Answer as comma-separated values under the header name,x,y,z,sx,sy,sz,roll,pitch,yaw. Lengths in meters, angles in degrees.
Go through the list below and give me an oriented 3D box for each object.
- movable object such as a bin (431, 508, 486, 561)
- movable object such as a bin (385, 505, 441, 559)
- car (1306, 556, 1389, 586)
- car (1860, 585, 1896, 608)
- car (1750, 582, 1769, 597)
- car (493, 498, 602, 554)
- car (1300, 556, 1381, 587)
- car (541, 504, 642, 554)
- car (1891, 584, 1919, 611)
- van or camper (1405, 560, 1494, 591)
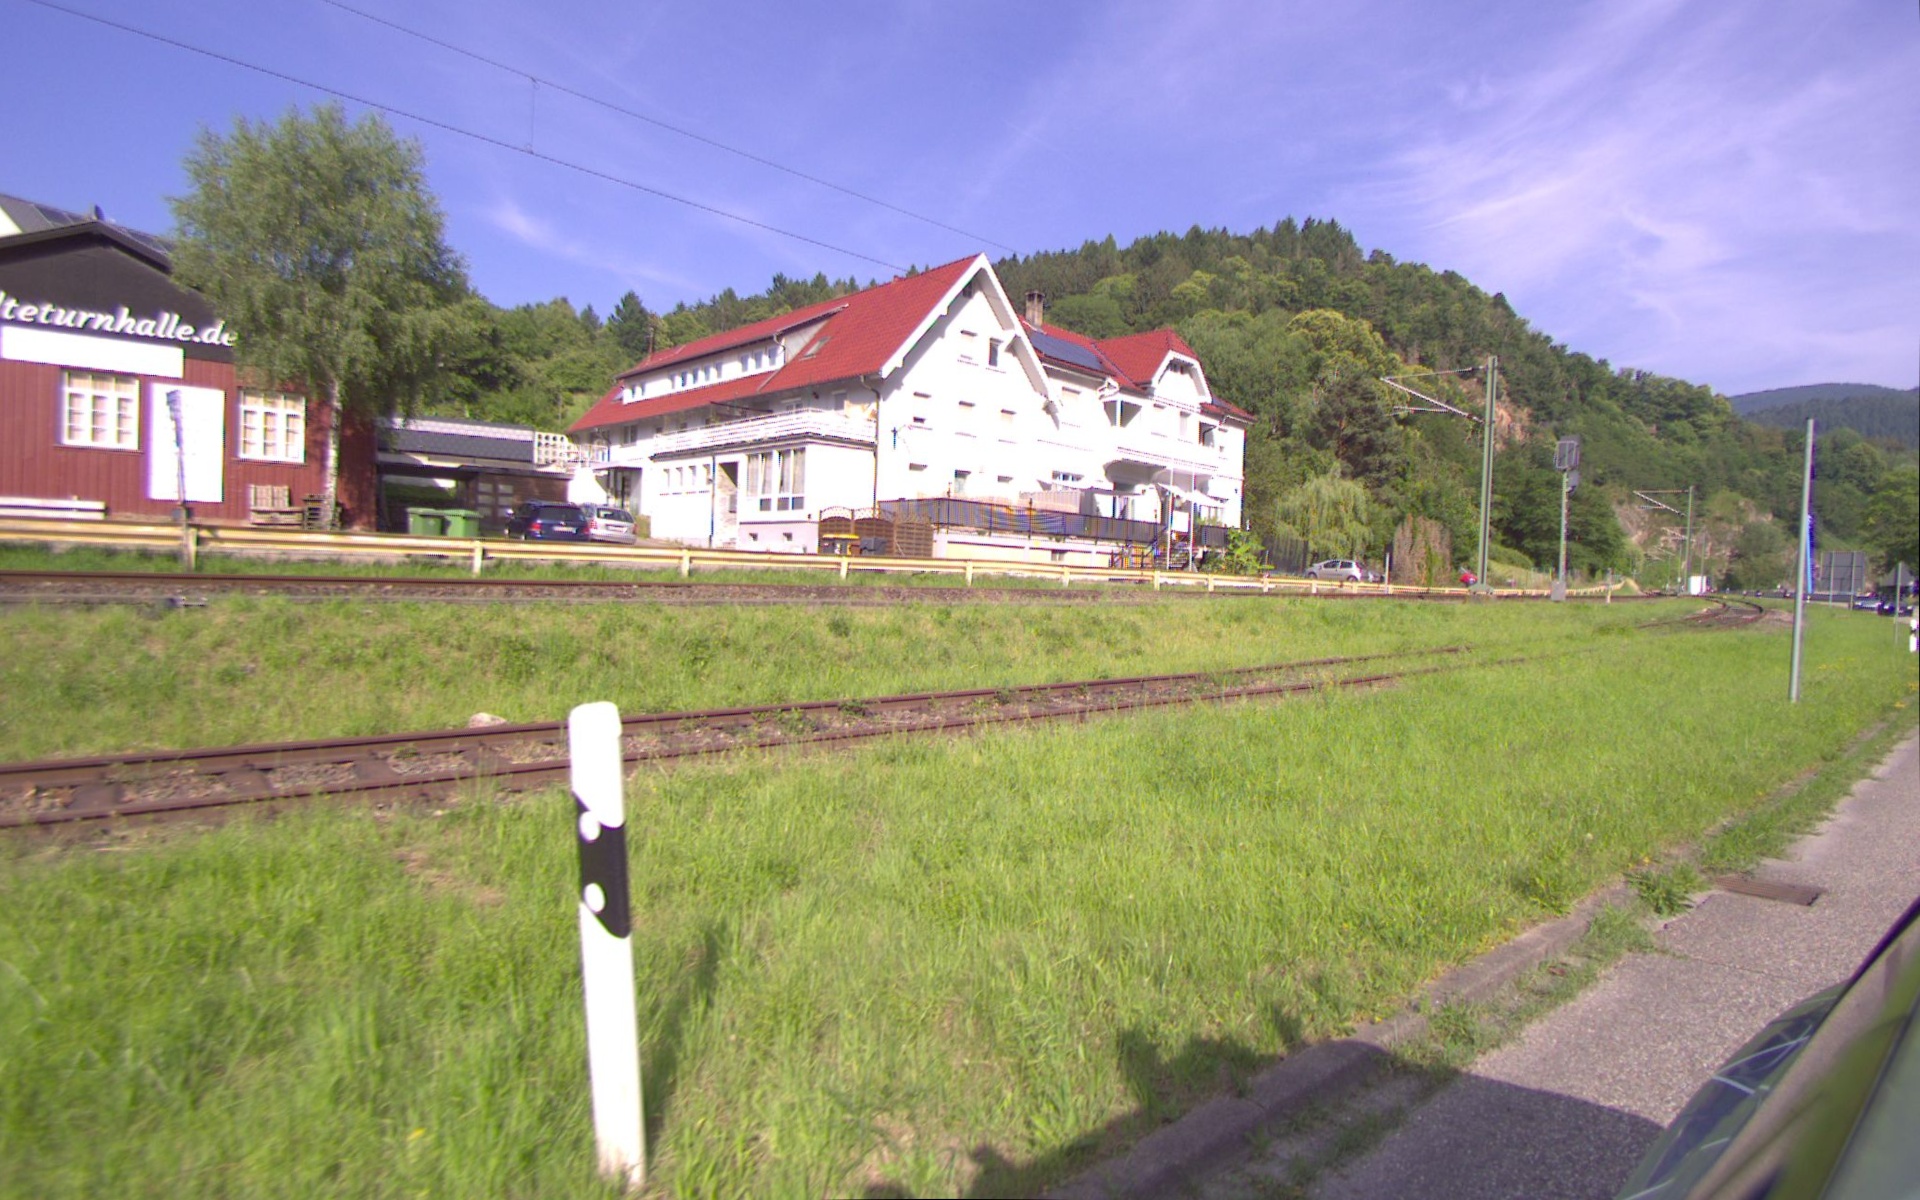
name,x,y,z,sx,sy,sz,roll,pitch,yaw
movable object such as a bin,-10.968,-1.416,22.146,0.896,1.064,0.809,1,-1,-41
movable object such as a bin,-11.634,-1.423,21.519,0.896,1.064,0.809,1,-1,-41
car,23.699,-1.770,61.936,4.311,1.548,1.970,5,2,41
car,87.003,-0.368,95.962,1.989,2.038,3.947,5,3,37
car,118.136,-1.536,149.571,1.990,2.038,3.947,5,3,37
car,-11.599,-2.098,28.332,1.792,1.392,4.000,1,4,-38
car,22.382,-1.691,59.635,3.985,1.548,1.970,5,2,41
car,-12.012,-2.341,32.882,1.793,1.392,3.998,1,4,-40
car,75.662,-0.204,80.620,1.993,2.038,3.941,5,3,41
van or camper,35.806,-1.807,74.145,2.085,1.952,5.425,0,4,-43
